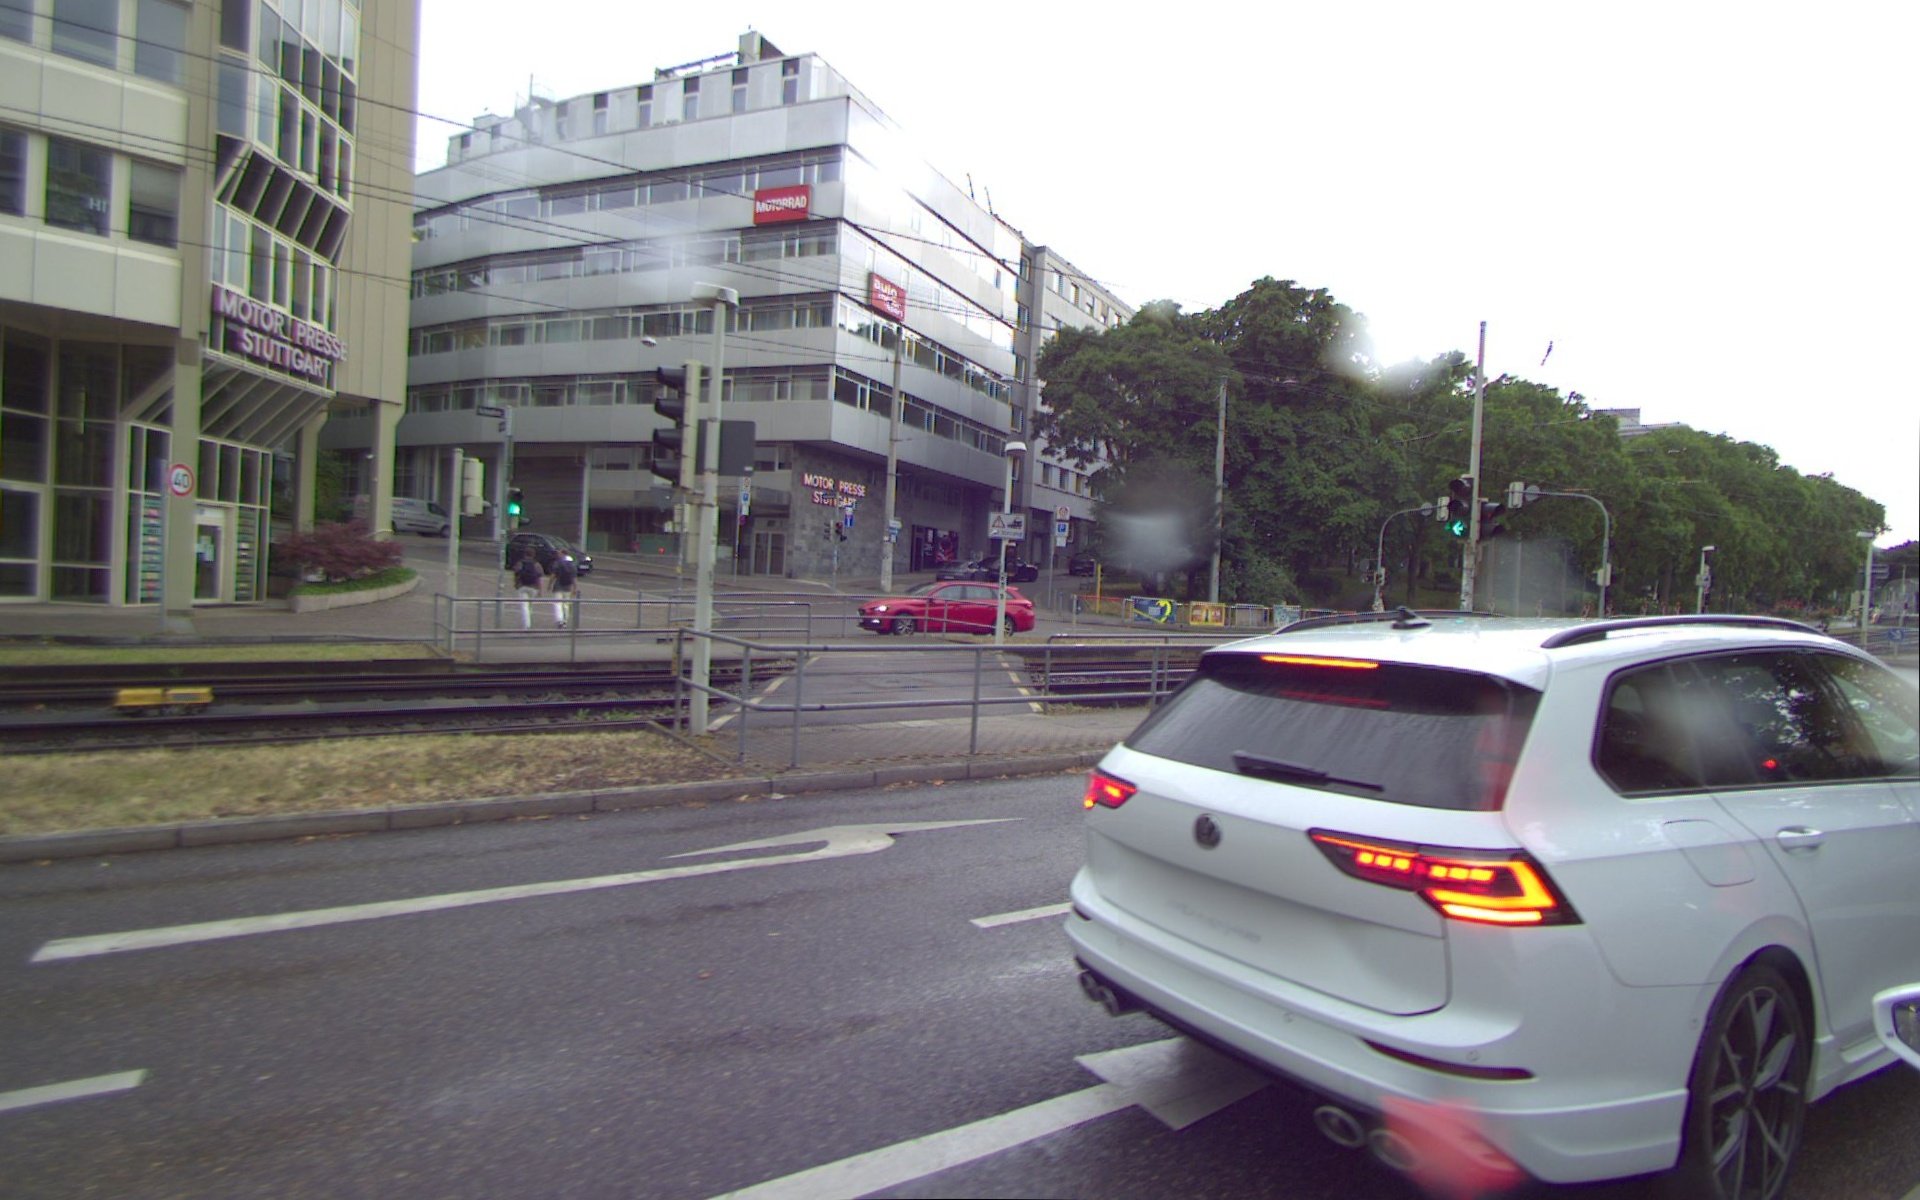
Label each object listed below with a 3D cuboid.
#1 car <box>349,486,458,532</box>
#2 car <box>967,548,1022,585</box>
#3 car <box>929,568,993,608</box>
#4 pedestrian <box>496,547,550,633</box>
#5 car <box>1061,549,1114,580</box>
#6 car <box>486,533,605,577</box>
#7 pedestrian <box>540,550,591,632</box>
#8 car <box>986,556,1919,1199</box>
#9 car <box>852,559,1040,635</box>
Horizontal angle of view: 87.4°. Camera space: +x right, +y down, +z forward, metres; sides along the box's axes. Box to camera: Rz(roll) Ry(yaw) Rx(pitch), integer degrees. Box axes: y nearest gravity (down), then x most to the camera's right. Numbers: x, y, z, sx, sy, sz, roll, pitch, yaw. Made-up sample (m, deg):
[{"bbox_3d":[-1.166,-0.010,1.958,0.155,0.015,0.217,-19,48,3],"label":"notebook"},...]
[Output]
[{"bbox_3d":[-29.802,-4.854,53.943,1.963,2.040,4.831,5,2,26],"label":"car"},{"bbox_3d":[1.993,-1.961,56.917,1.961,1.818,3.998,5,5,19],"label":"car"},{"bbox_3d":[0.100,-0.634,52.056,1.961,1.818,3.999,5,2,19],"label":"car"},{"bbox_3d":[-9.590,-0.212,22.055,0.630,1.811,0.808,5,3,36],"label":"pedestrian"},{"bbox_3d":[8.578,-2.358,67.205,1.964,1.818,4.201,5,3,30],"label":"car"},{"bbox_3d":[-15.928,-1.726,38.657,3.920,1.383,1.830,5,2,16],"label":"car"},{"bbox_3d":[-9.021,-0.208,22.970,0.630,1.811,0.808,5,3,36],"label":"pedestrian"},{"bbox_3d":[2.322,0.736,3.557,4.203,1.597,1.670,1,1,-31],"label":"car"},{"bbox_3d":[-0.374,-0.089,25.661,4.350,1.662,1.978,3,2,-20],"label":"car"}]
